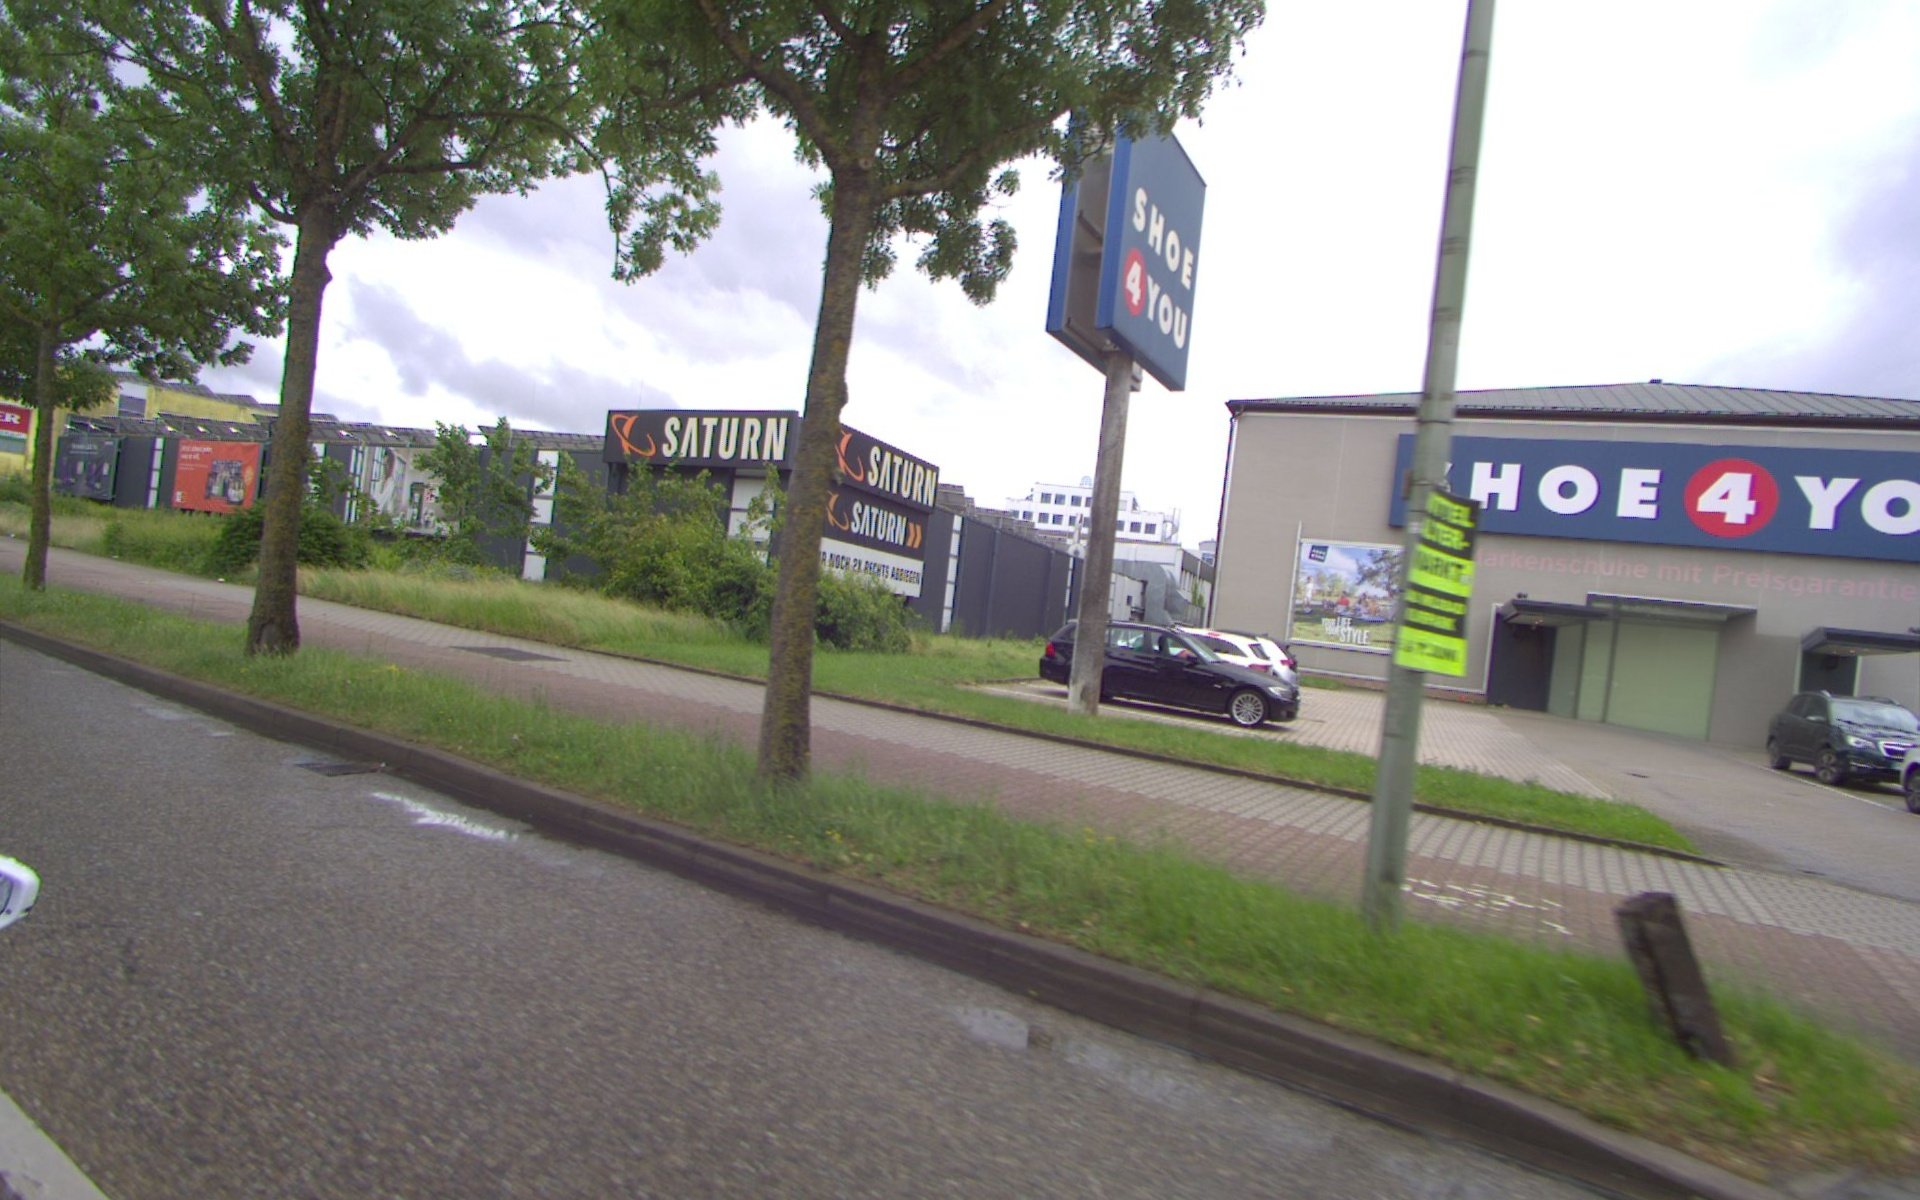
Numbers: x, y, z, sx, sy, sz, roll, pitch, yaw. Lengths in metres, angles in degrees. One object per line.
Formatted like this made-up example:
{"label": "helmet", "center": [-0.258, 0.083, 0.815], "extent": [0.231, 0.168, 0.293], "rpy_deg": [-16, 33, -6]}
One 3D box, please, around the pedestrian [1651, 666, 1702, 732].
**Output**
{"label": "pedestrian", "center": [22.249, 3.069, 31.237], "extent": [0.764, 1.909, 0.921], "rpy_deg": [6, 1, -39]}

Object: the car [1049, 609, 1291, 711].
{"label": "car", "center": [4.640, 1.284, 22.308], "extent": [4.862, 1.486, 1.885], "rpy_deg": [7, 0, 23]}

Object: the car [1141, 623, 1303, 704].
{"label": "car", "center": [6.425, 1.526, 24.629], "extent": [3.522, 1.459, 1.584], "rpy_deg": [7, 0, 23]}

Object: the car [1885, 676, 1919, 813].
{"label": "car", "center": [14.951, 2.219, 13.552], "extent": [1.954, 2.038, 4.834], "rpy_deg": [6, 0, 23]}

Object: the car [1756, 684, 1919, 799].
{"label": "car", "center": [17.294, 2.664, 19.495], "extent": [1.711, 1.751, 4.255], "rpy_deg": [7, 0, 23]}

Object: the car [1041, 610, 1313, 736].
{"label": "car", "center": [3.686, 1.184, 17.161], "extent": [4.188, 1.446, 1.582], "rpy_deg": [7, 1, 23]}
